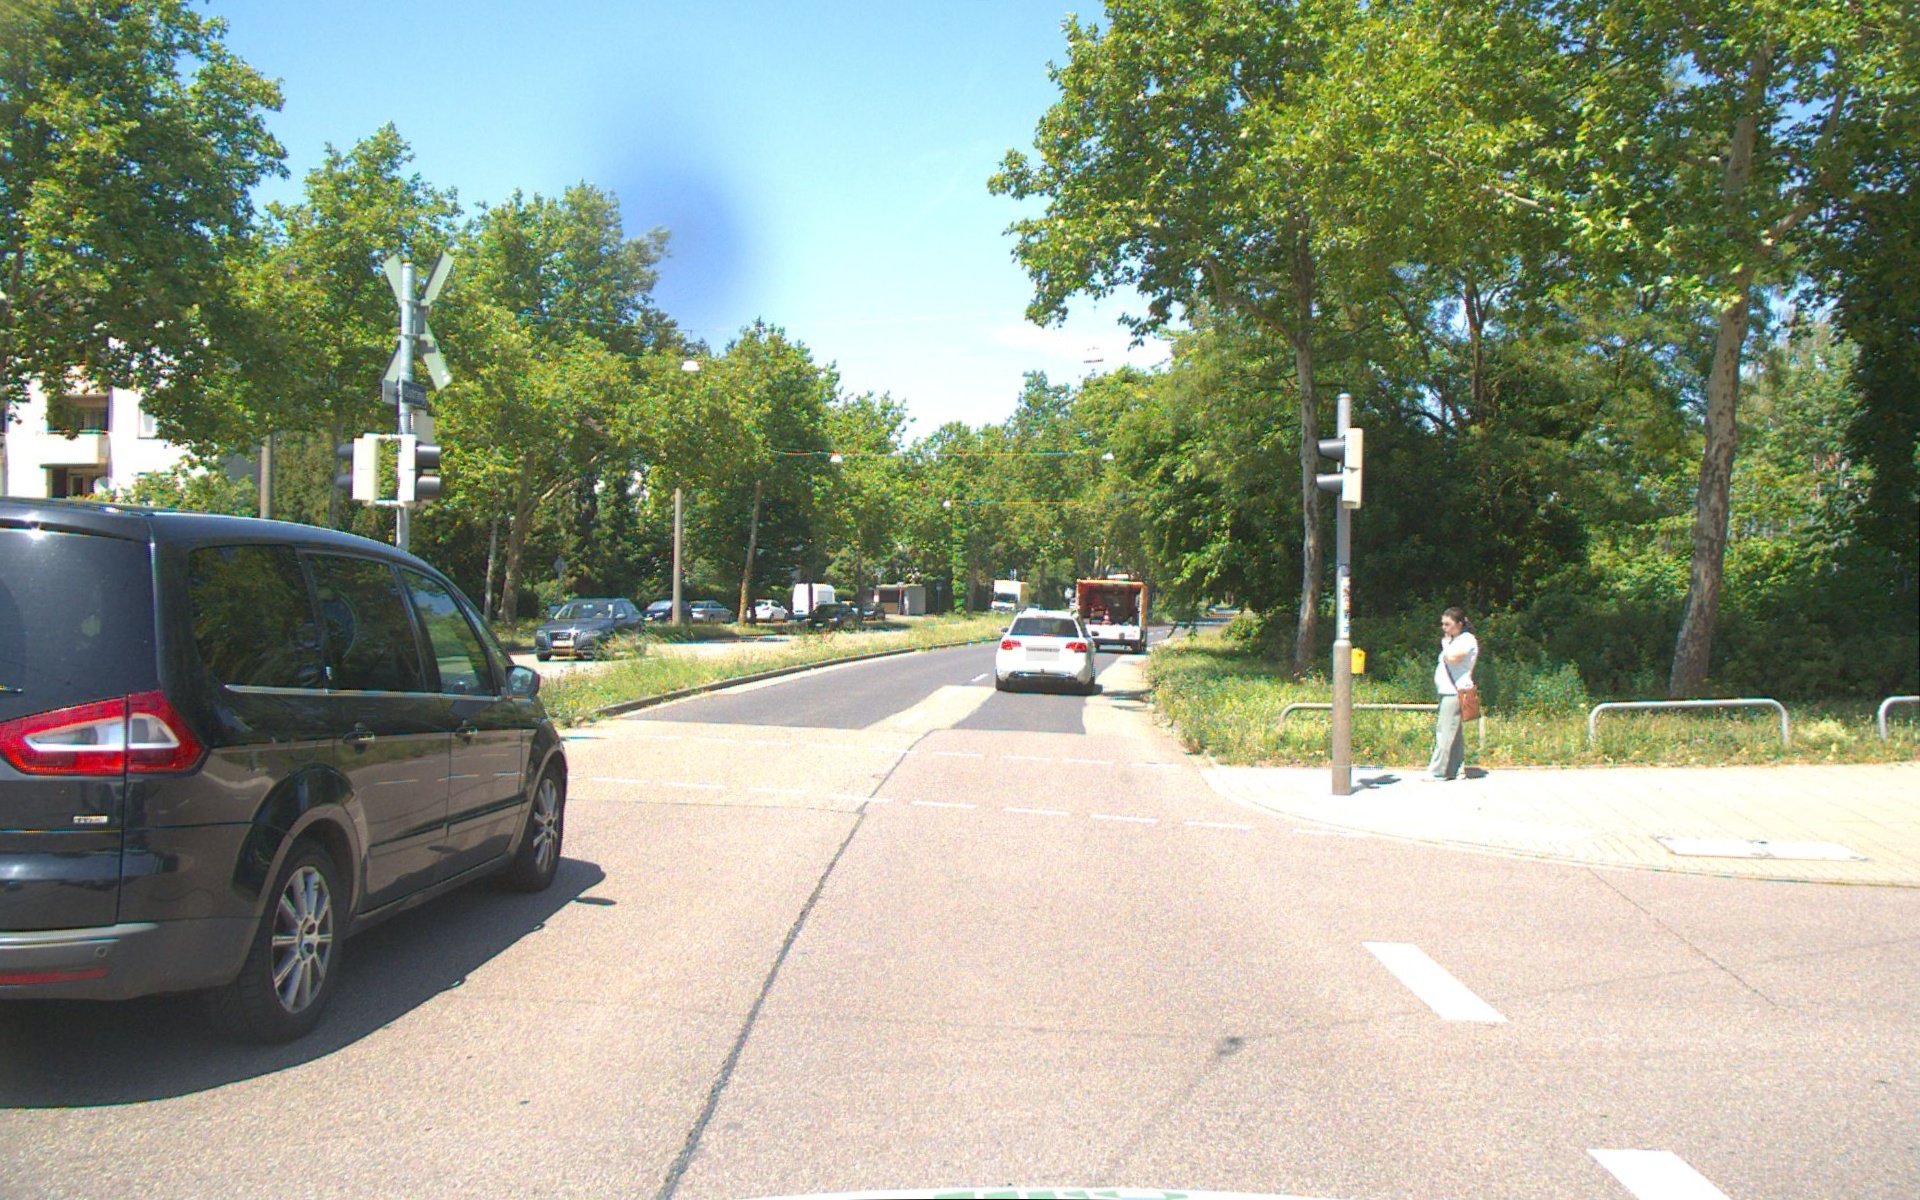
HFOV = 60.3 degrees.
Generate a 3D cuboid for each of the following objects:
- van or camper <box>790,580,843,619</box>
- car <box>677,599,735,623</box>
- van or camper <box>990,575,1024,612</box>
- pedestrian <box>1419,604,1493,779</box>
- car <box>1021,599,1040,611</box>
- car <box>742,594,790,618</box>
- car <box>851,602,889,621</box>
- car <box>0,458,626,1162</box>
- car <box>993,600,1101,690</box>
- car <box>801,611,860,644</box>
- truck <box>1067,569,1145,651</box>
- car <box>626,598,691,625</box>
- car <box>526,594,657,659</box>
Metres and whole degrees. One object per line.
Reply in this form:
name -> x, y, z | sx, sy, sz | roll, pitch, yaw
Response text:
van or camper -> -10.202, -0.035, 117.659 | 2.136, 2.633, 5.313 | 1, 0, 14
car -> -15.137, 0.649, 98.869 | 1.842, 1.400, 4.002 | 1, 0, 17
van or camper -> 4.512, -0.631, 156.745 | 2.604, 3.389, 5.505 | 1, 0, 8
pedestrian -> 4.405, 0.796, 14.708 | 0.541, 1.510, 0.630 | 1, 0, 10
car -> 7.350, 0.505, 171.190 | 1.874, 1.231, 4.337 | 0, 0, 4
car -> -12.677, 0.362, 108.457 | 1.841, 1.500, 4.003 | 1, 0, 13
car -> -7.045, 0.873, 129.788 | 1.790, 1.415, 3.949 | 1, 0, 17
car -> -2.864, 0.504, 6.592 | 1.815, 1.786, 4.651 | 2, 0, 3
car -> 1.644, 0.774, 30.166 | 1.725, 1.470, 3.618 | 3, 0, 6
car -> -6.251, 1.310, 80.425 | 1.773, 1.533, 4.597 | 0, 0, 9
truck -> 5.201, 0.285, 58.483 | 2.458, 2.604, 7.609 | 2, 1, 5
car -> -17.012, 0.639, 93.452 | 1.842, 1.417, 4.001 | 1, 0, 20
car -> -8.672, 0.605, 39.278 | 1.699, 1.419, 4.181 | -1, 0, 7
